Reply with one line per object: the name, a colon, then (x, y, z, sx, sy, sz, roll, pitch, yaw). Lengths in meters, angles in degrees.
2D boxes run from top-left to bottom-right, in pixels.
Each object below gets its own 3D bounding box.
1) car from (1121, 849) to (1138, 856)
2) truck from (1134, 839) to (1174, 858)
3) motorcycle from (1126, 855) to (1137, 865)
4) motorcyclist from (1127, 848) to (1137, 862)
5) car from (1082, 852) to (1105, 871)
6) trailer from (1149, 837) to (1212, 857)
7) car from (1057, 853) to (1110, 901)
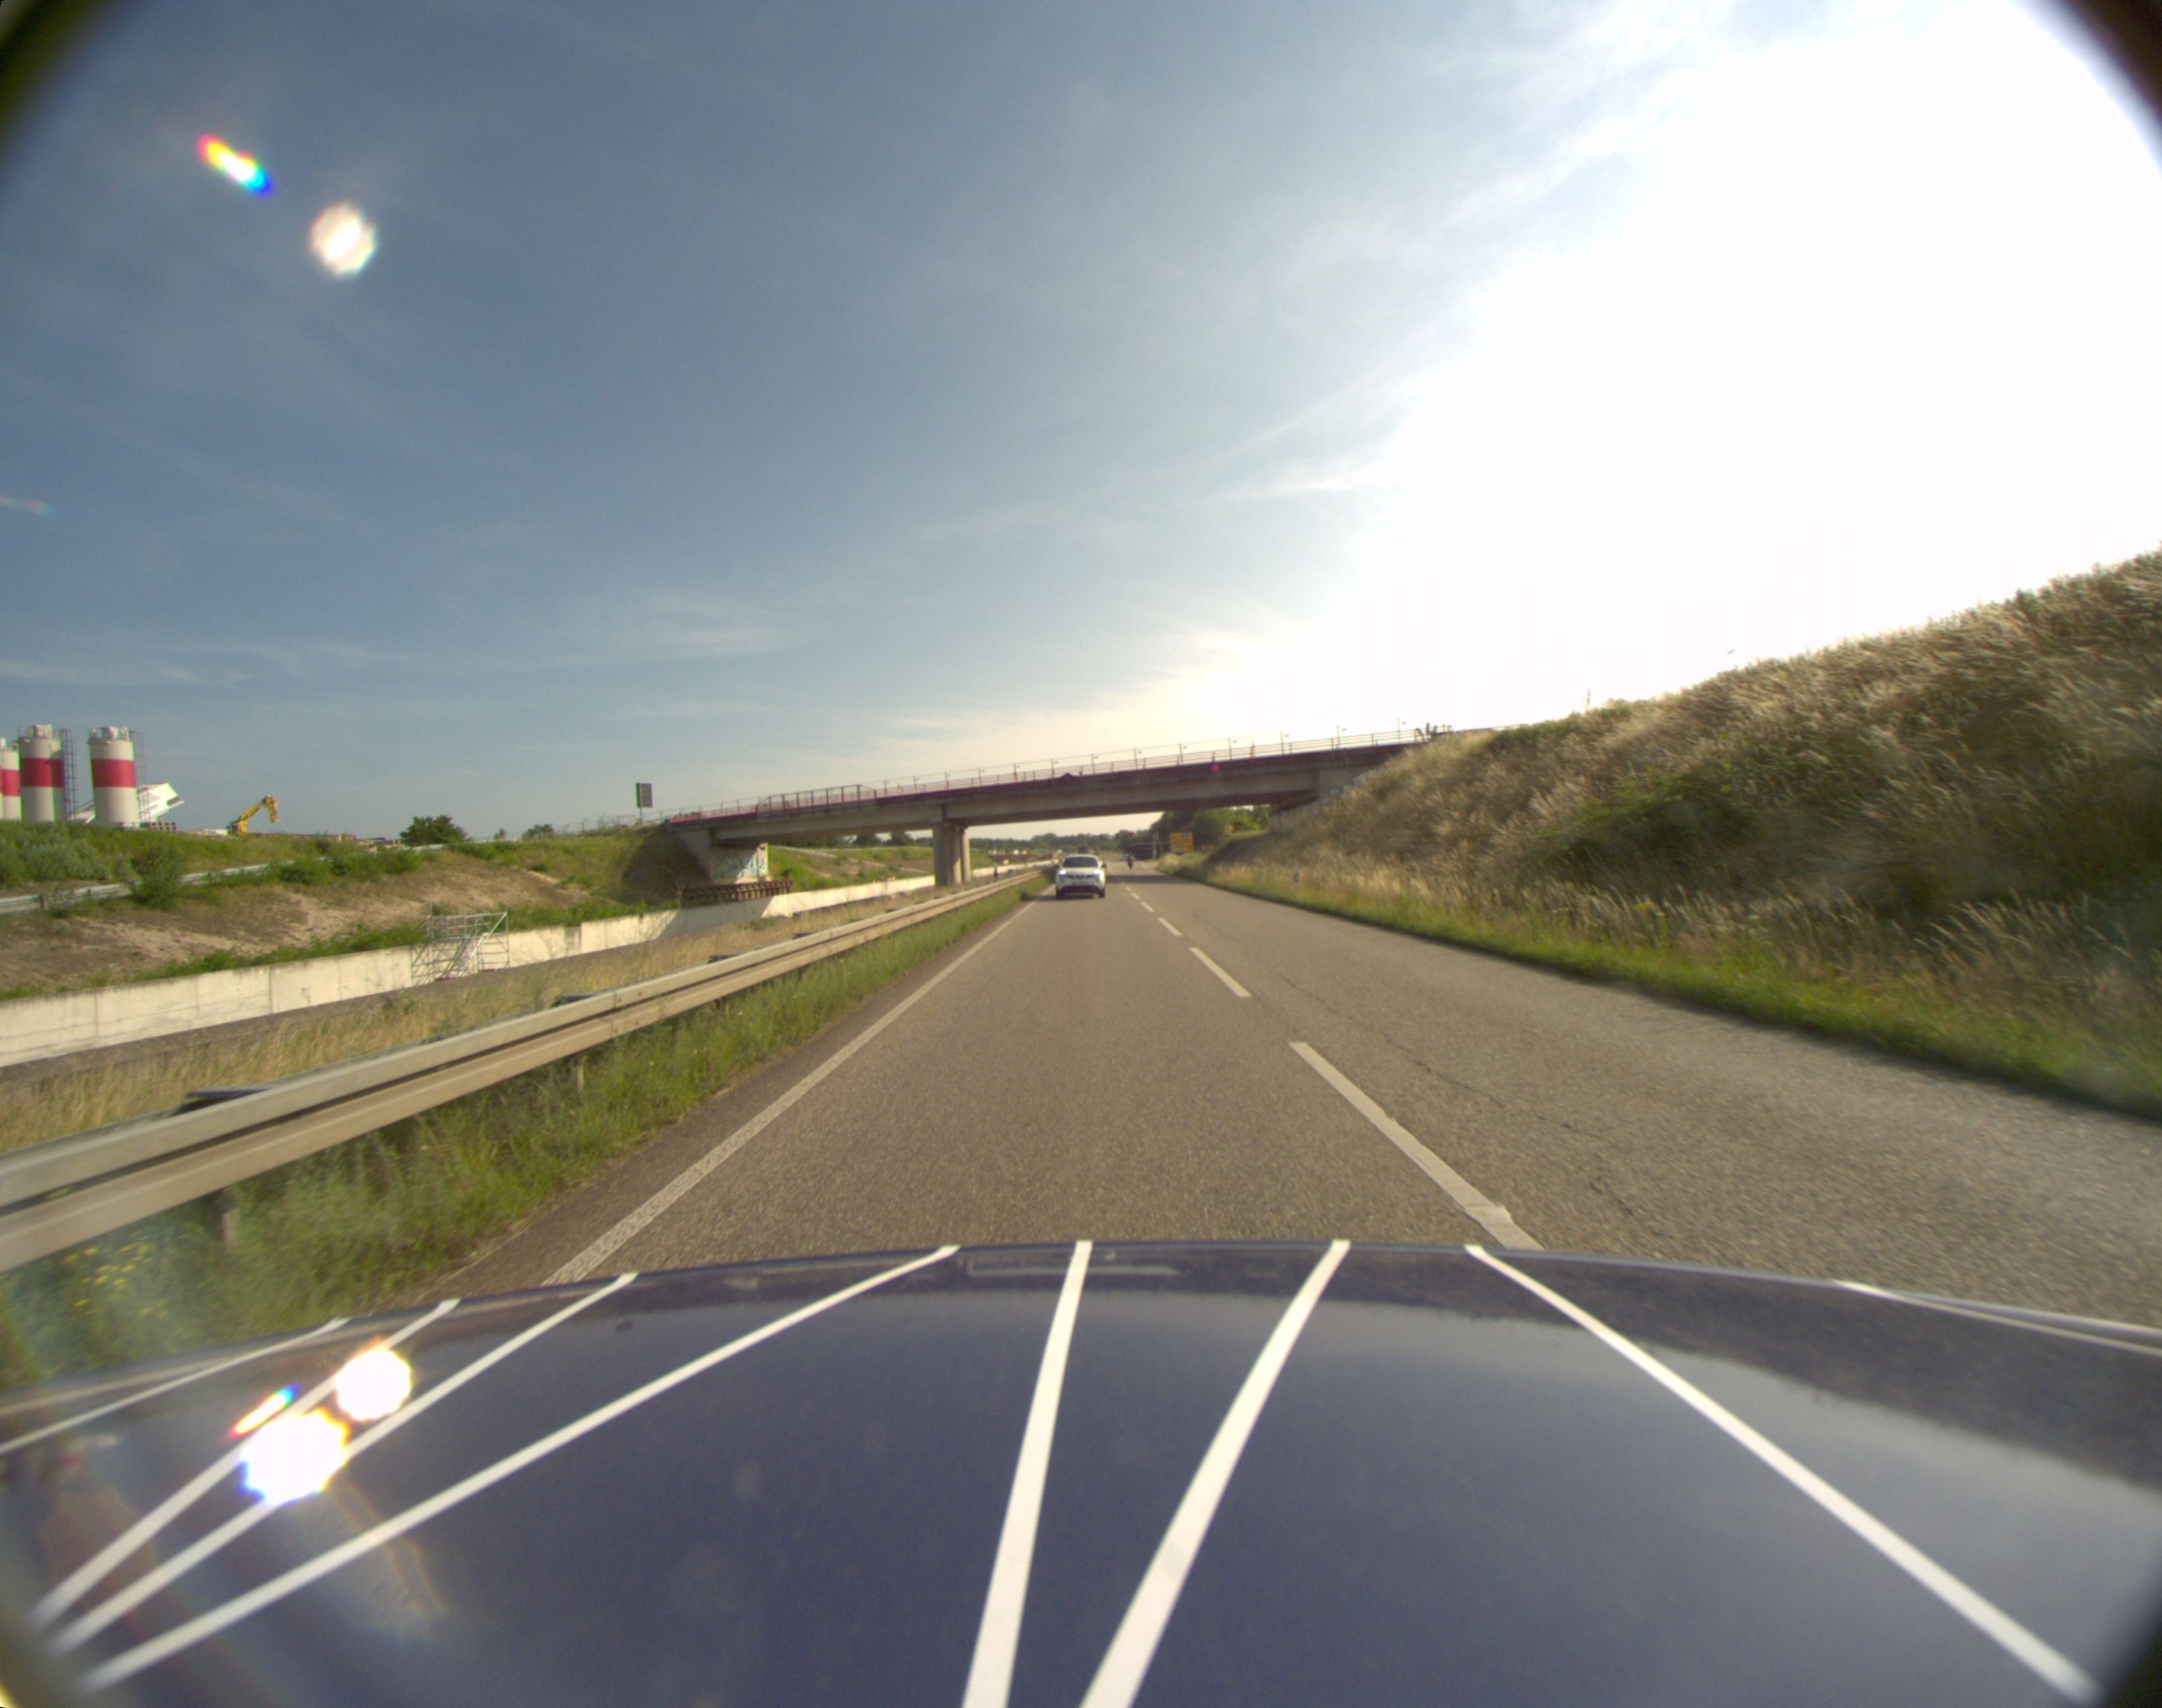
car: (10.923, -0.327, 171.341, 2.002, 1.602, 4.190, -2, 1, -21)
truck: (17.209, -1.389, 178.509, 8.380, 4.089, 3.565, -2, 1, 26)
motorcycle: (5.421, 0.637, 81.407, 1.044, 1.111, 2.132, -1, 1, -1)
motorcyclist: (5.441, 0.108, 81.261, 0.881, 1.443, 1.284, -1, 1, -1)
car: (1.069, 0.613, 66.774, 1.908, 1.512, 4.465, -2, 0, 0)
trailer: (22.871, -1.628, 175.591, 13.765, 4.089, 3.565, -2, 1, 26)
car: (0.024, 0.790, 28.675, 1.789, 1.593, 4.571, -2, 0, -2)
